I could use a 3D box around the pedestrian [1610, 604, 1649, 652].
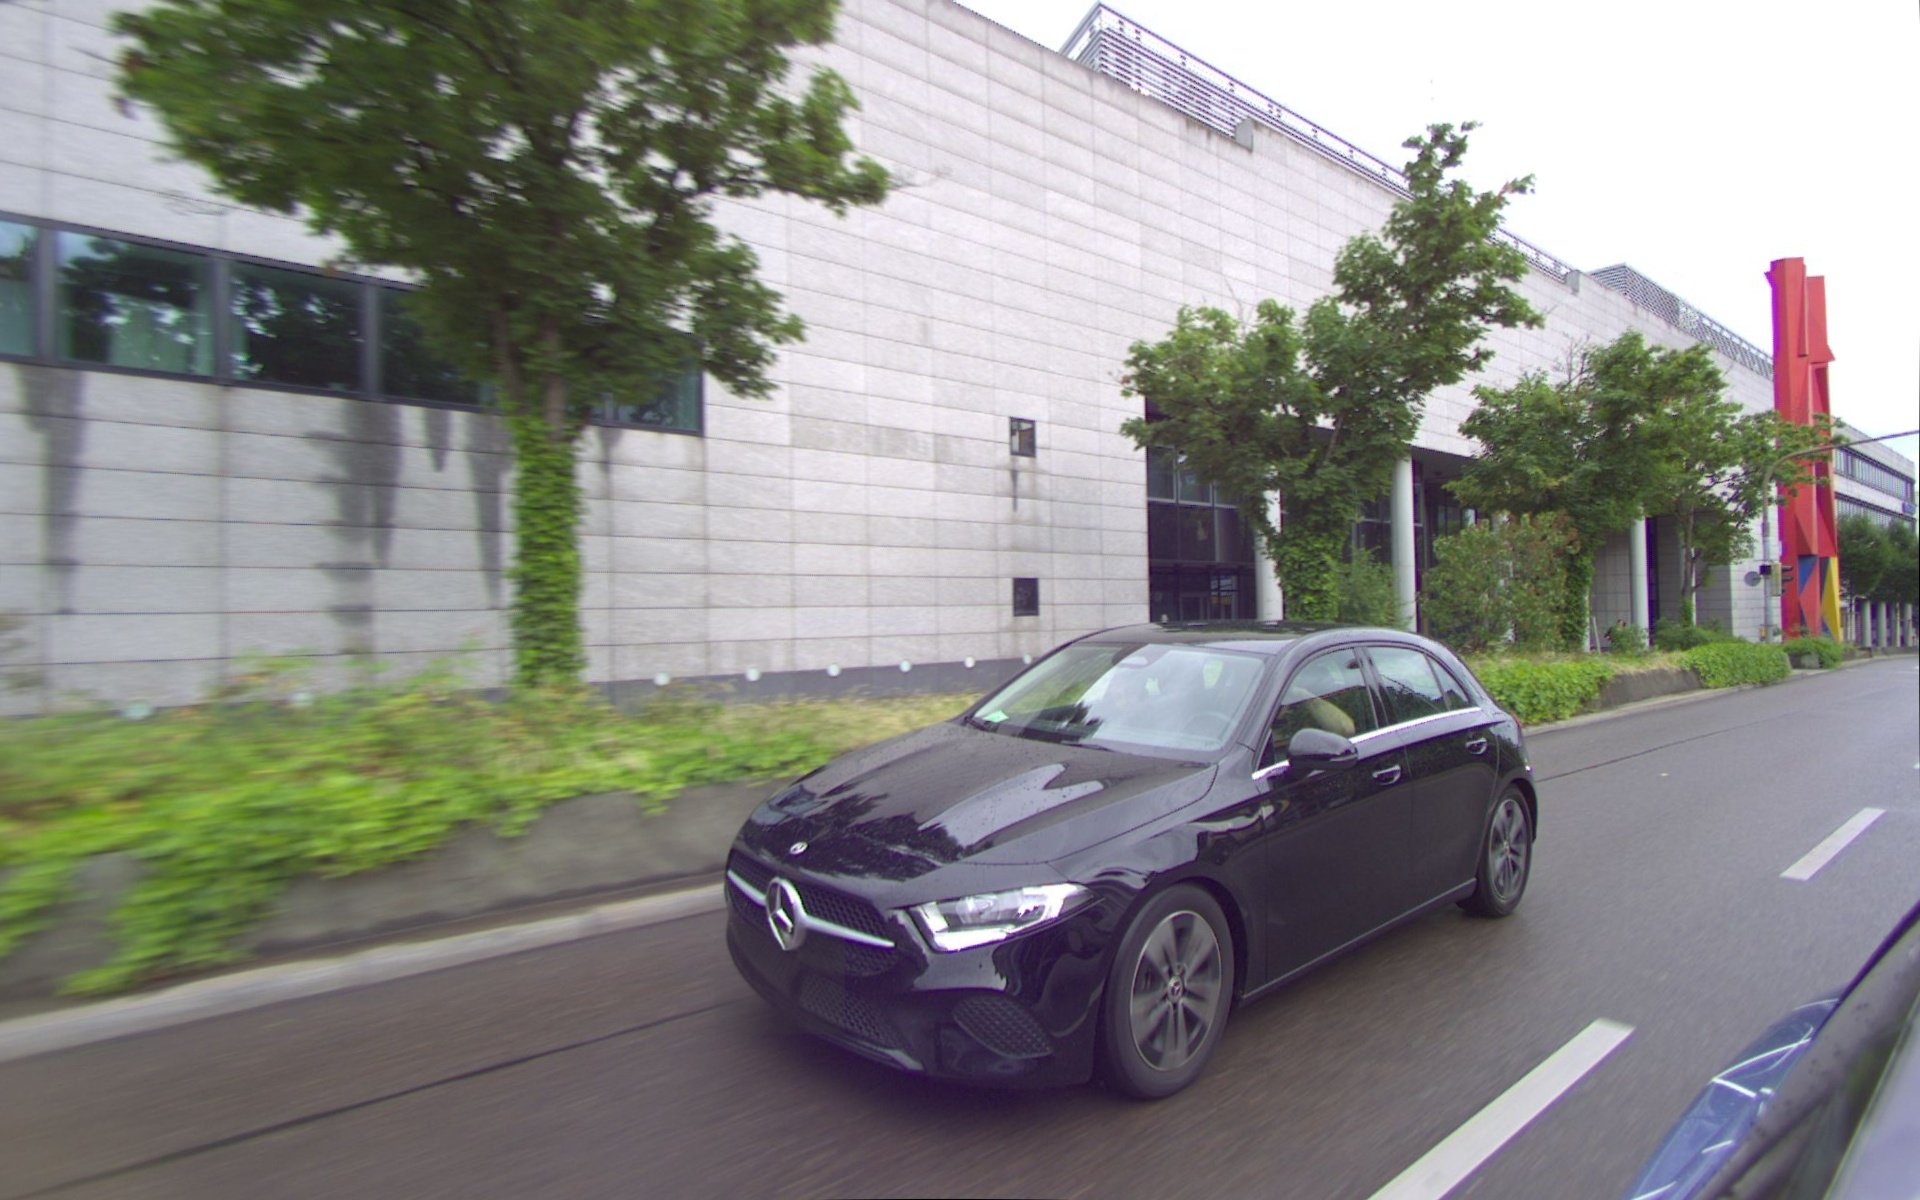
[{"bbox_3d":[22.987,0.952,34.746,0.828,1.606,0.971,2,-2,-43],"label":"pedestrian"}]

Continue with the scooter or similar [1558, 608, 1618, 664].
[{"bbox_3d":[17.772,1.028,28.658,0.493,1.551,1.326,2,-3,-38],"label":"scooter or similar"}]

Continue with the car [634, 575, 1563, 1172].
[{"bbox_3d":[0.918,0.735,4.555,4.130,1.455,1.876,2,-2,-41],"label":"car"}]
